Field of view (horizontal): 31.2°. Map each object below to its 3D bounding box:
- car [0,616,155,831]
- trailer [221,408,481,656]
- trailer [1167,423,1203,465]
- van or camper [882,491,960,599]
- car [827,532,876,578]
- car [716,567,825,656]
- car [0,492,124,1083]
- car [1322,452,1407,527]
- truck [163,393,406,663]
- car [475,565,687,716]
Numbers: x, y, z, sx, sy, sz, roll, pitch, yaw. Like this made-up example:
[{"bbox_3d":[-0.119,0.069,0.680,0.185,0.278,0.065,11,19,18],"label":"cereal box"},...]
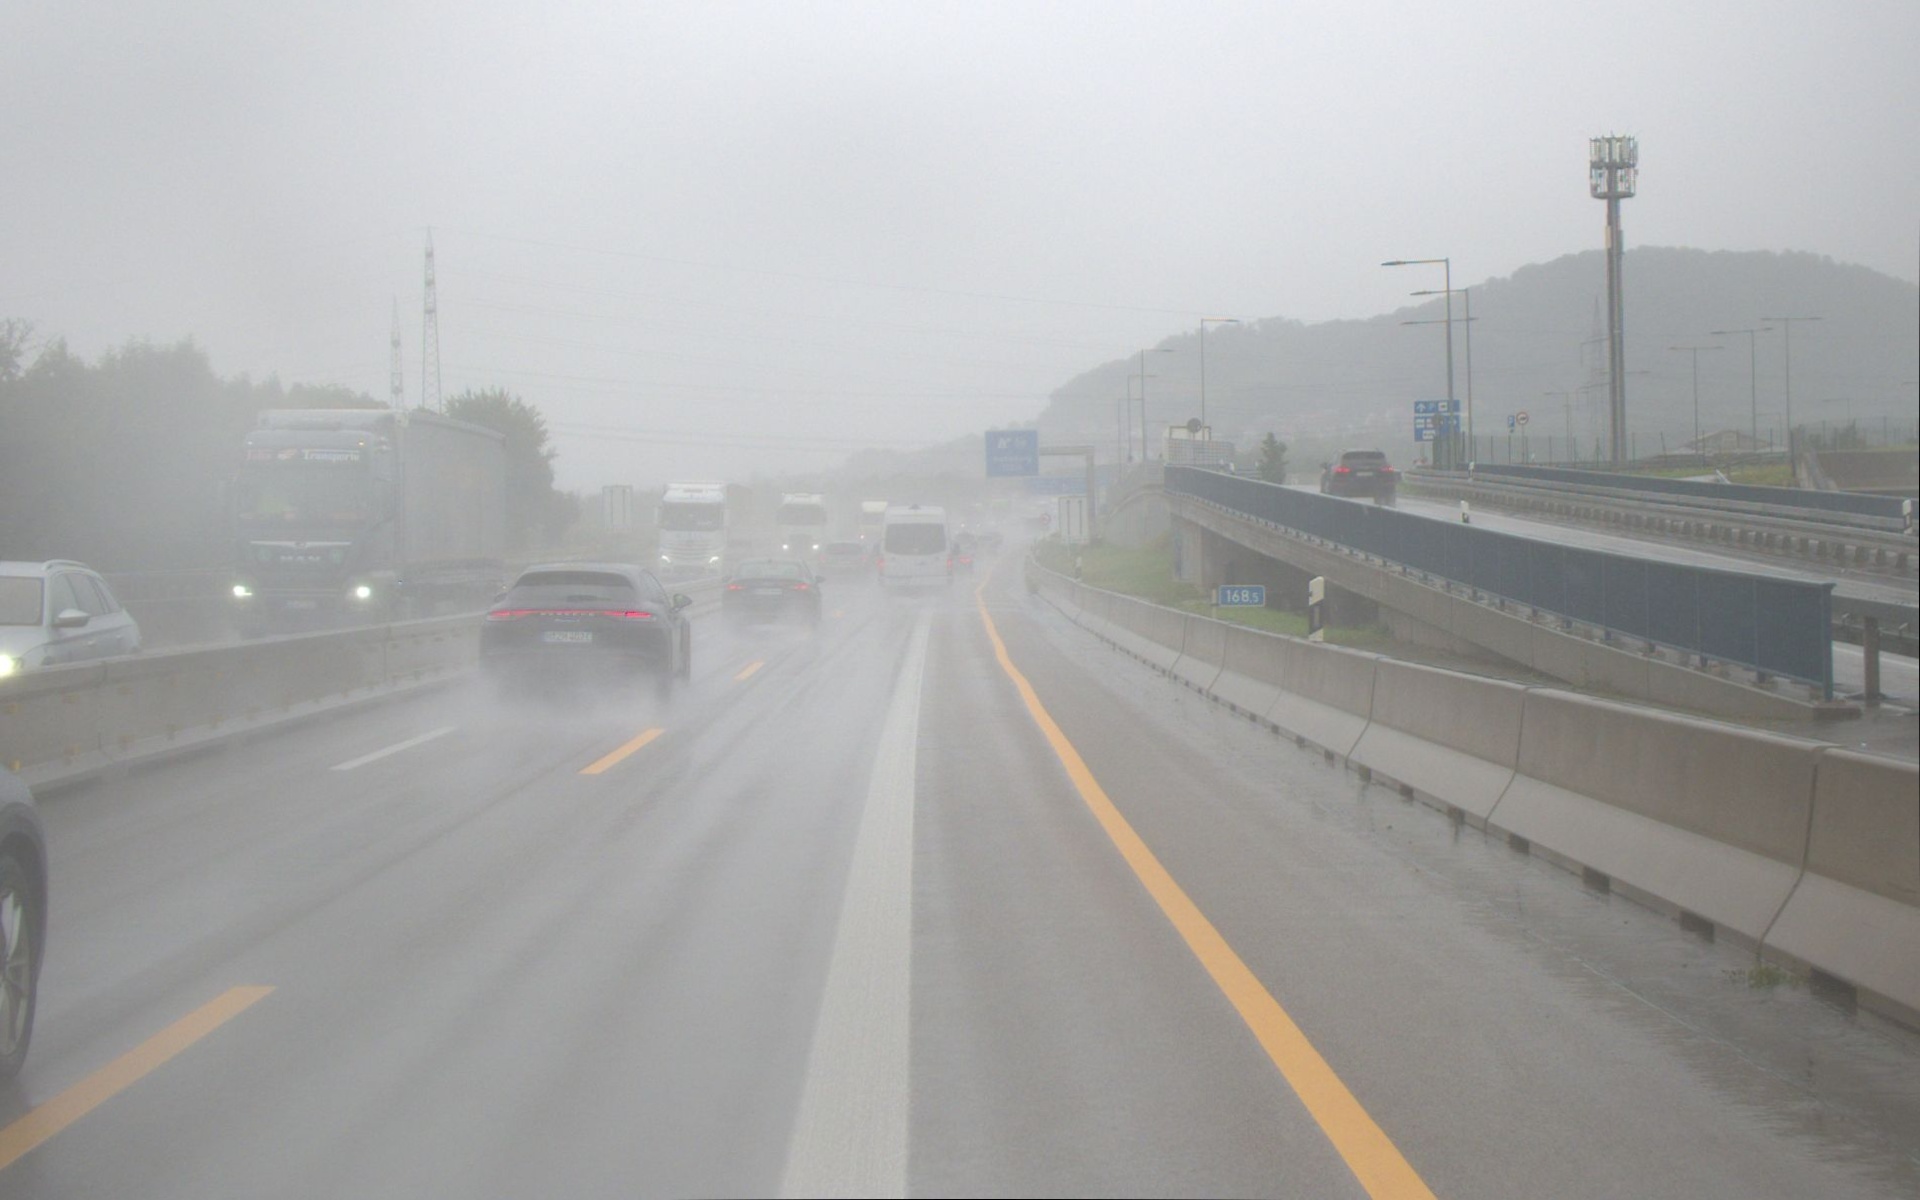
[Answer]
[{"bbox_3d":[-7.913,0.902,27.158,2.038,1.501,4.720,1,0,-1],"label":"car"},{"bbox_3d":[-10.971,-1.151,63.245,2.650,4.095,12.315,1,0,0],"label":"trailer"},{"bbox_3d":[14.427,-9.957,220.870,1.994,2.099,13.767,1,0,2],"label":"trailer"},{"bbox_3d":[-1.042,-1.429,91.119,1.996,2.768,4.050,1,0,-1],"label":"van or camper"},{"bbox_3d":[-3.706,-1.522,117.657,1.566,1.475,2.822,-2,0,-1],"label":"car"},{"bbox_3d":[-3.548,0.185,64.983,1.844,1.486,4.262,-2,2,-1],"label":"car"},{"bbox_3d":[-3.414,0.512,8.299,1.701,1.592,4.845,0,1,-1],"label":"car"},{"bbox_3d":[12.267,-3.327,104.483,1.993,2.135,4.000,1,0,-1],"label":"car"},{"bbox_3d":[-10.903,-1.116,56.110,2.642,4.113,6.695,1,0,0],"label":"truck"},{"bbox_3d":[-3.945,0.394,36.364,1.844,1.486,4.262,1,0,-1],"label":"car"}]
